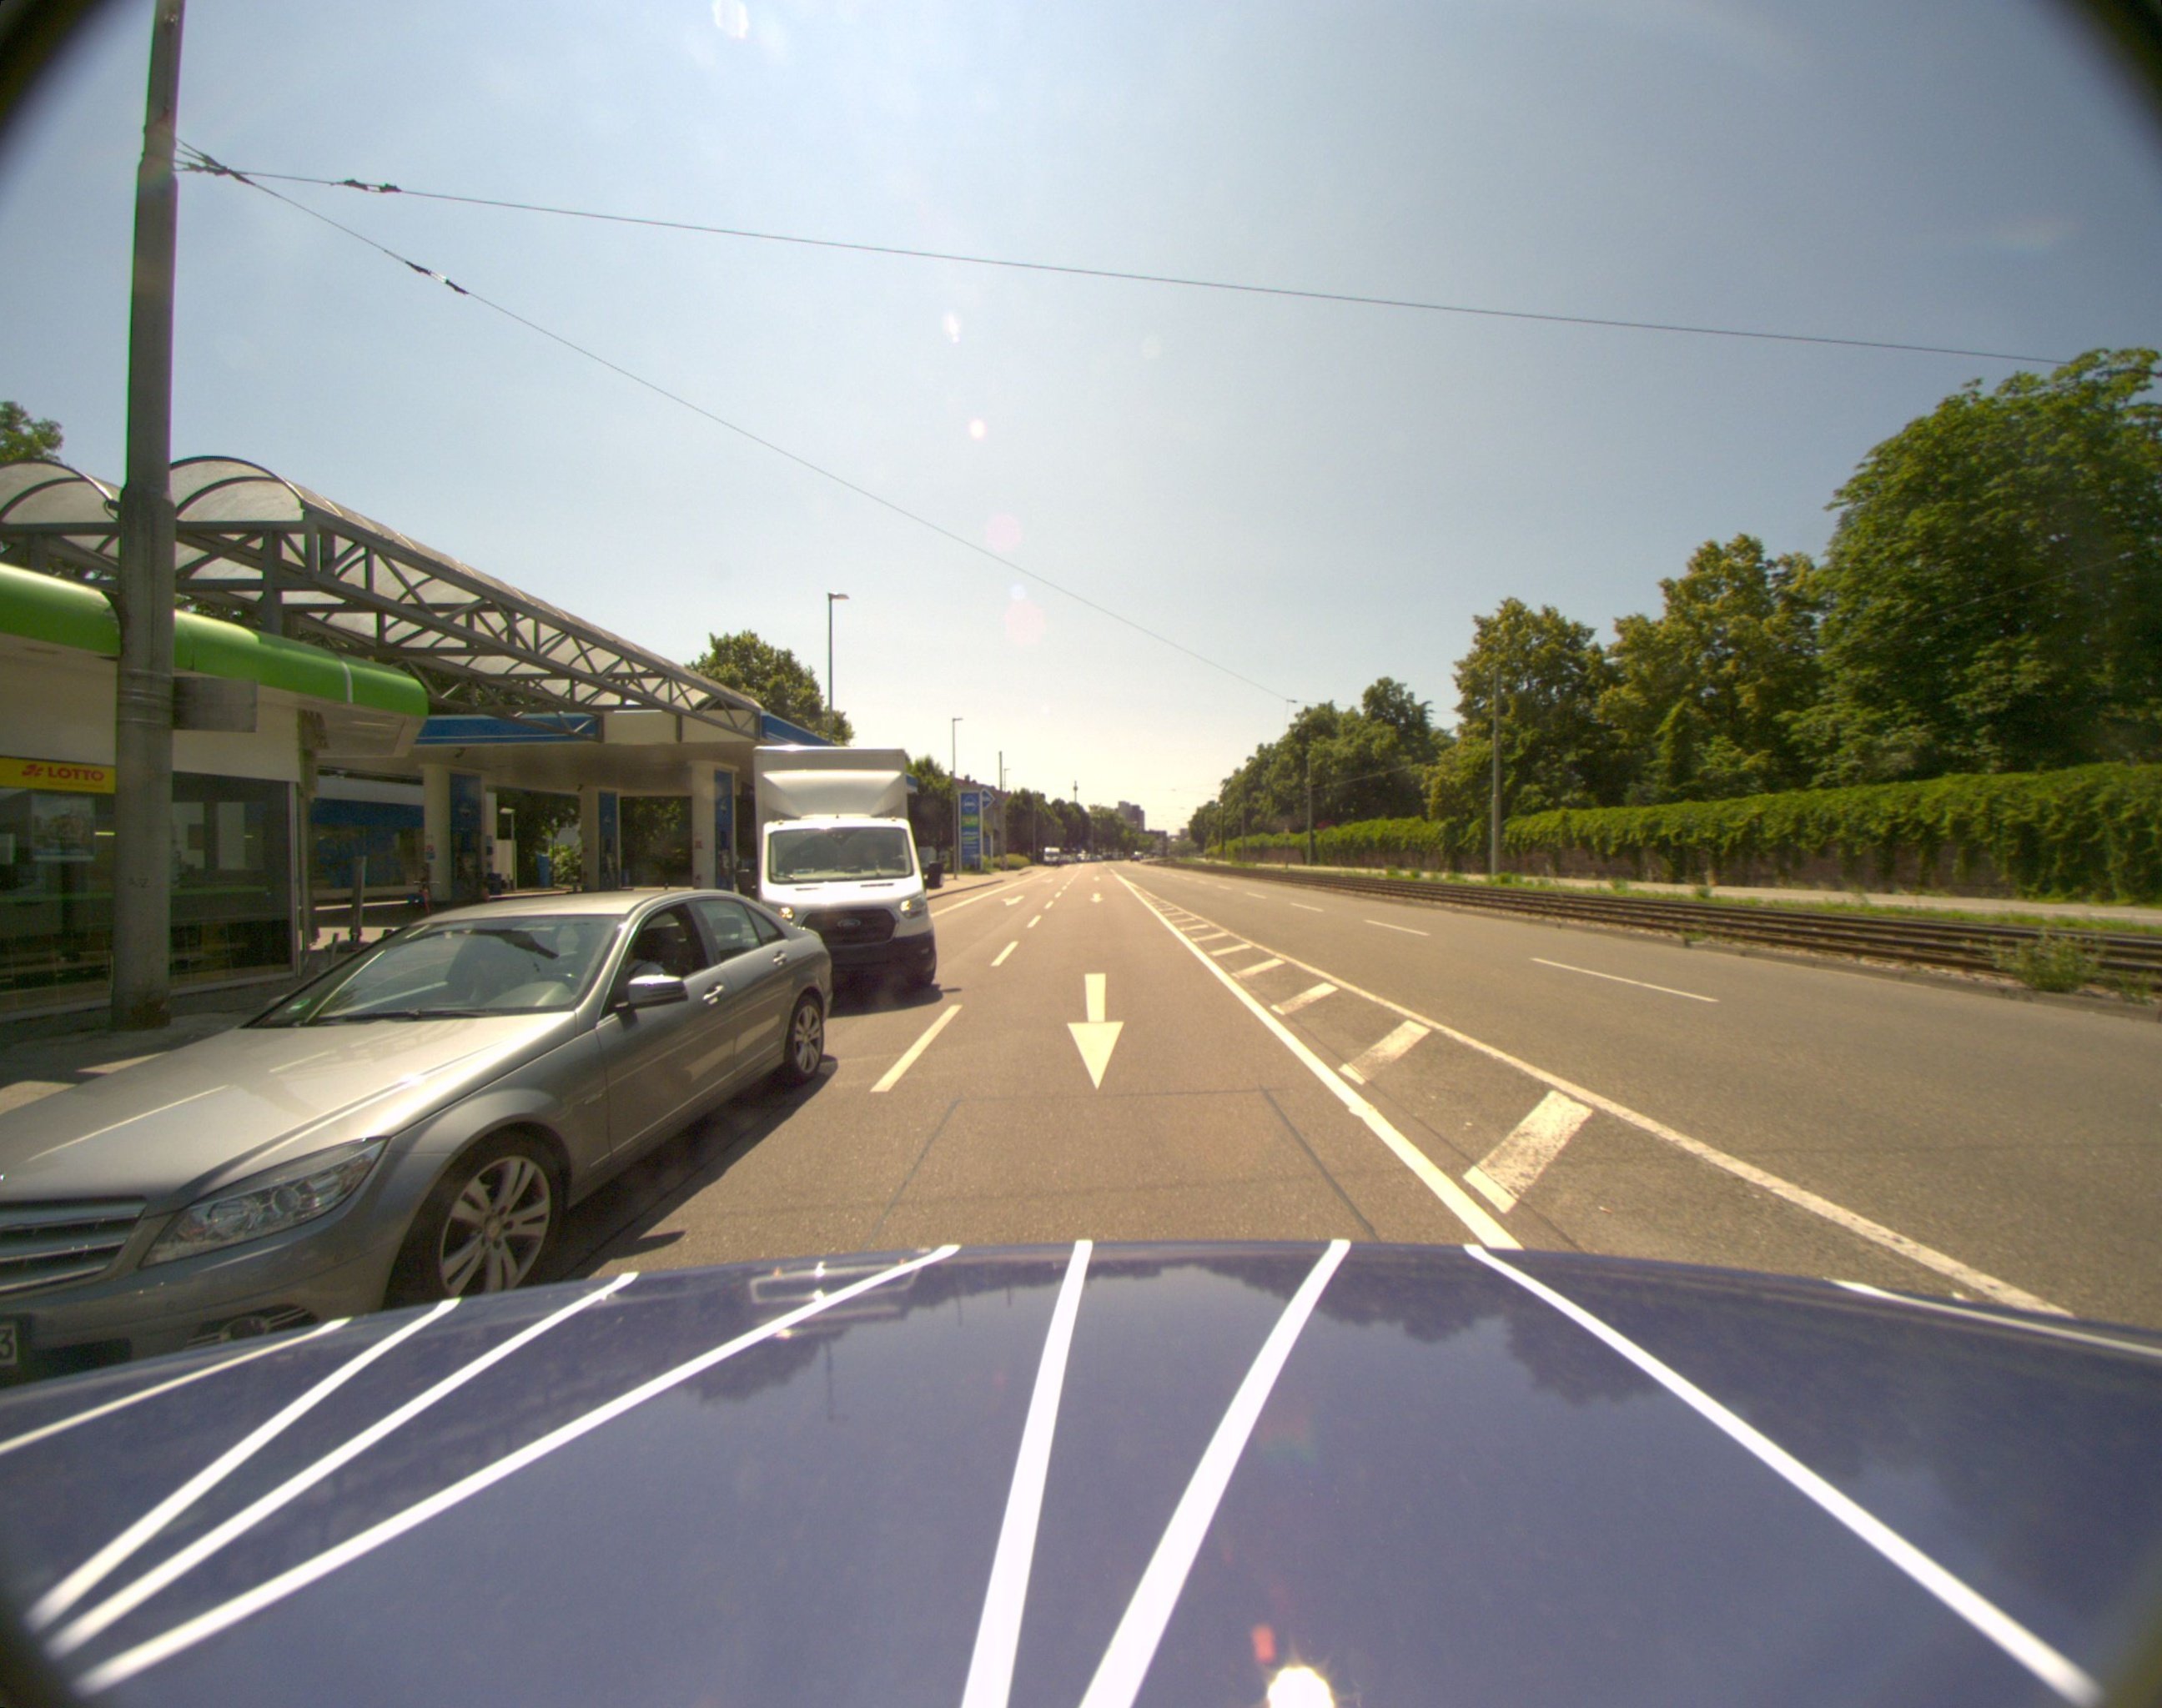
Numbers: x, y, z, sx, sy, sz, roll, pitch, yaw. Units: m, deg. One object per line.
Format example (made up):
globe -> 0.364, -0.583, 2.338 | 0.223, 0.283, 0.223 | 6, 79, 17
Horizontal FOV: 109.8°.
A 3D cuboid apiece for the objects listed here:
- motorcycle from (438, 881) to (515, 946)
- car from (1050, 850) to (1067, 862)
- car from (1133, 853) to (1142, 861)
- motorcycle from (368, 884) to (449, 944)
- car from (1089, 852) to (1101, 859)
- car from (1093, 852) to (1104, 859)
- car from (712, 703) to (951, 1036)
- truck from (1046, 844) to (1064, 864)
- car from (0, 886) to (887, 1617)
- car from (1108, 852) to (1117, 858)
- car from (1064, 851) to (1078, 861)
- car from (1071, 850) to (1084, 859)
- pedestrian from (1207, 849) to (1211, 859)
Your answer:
motorcycle -> -11.586, 1.130, 14.574 | 1.157, 1.203, 0.364 | 1, -1, -1
car -> -3.241, 0.279, 110.124 | 1.912, 1.488, 4.001 | -2, 1, 4
car -> 11.689, 0.561, 156.675 | 1.801, 1.488, 3.965 | -2, 0, 5
motorcycle -> -12.838, 1.143, 14.526 | 1.157, 1.107, 0.396 | 1, -1, -1
car -> 3.193, 0.388, 172.085 | 1.911, 1.488, 4.002 | -2, 1, 10
car -> 4.090, 0.299, 176.983 | 1.911, 1.488, 4.002 | -2, 1, 10
car -> -3.924, 0.142, 12.005 | 2.233, 3.316, 8.622 | -2, 1, -19
truck -> -3.448, -0.021, 101.566 | 1.998, 2.462, 5.237 | -2, 1, 1
car -> -2.782, 1.055, 4.411 | 1.717, 1.464, 5.302 | -3, 0, 2
car -> 8.341, 0.337, 203.064 | 1.911, 1.488, 4.002 | -2, 1, 10
car -> -1.653, 0.283, 126.599 | 1.912, 1.488, 4.001 | -2, 1, 4
car -> -0.636, 0.141, 139.007 | 1.912, 1.488, 4.001 | -2, 1, 4
pedestrian -> 22.035, 0.031, 130.779 | 0.453, 1.655, 0.302 | -2, 0, 1
